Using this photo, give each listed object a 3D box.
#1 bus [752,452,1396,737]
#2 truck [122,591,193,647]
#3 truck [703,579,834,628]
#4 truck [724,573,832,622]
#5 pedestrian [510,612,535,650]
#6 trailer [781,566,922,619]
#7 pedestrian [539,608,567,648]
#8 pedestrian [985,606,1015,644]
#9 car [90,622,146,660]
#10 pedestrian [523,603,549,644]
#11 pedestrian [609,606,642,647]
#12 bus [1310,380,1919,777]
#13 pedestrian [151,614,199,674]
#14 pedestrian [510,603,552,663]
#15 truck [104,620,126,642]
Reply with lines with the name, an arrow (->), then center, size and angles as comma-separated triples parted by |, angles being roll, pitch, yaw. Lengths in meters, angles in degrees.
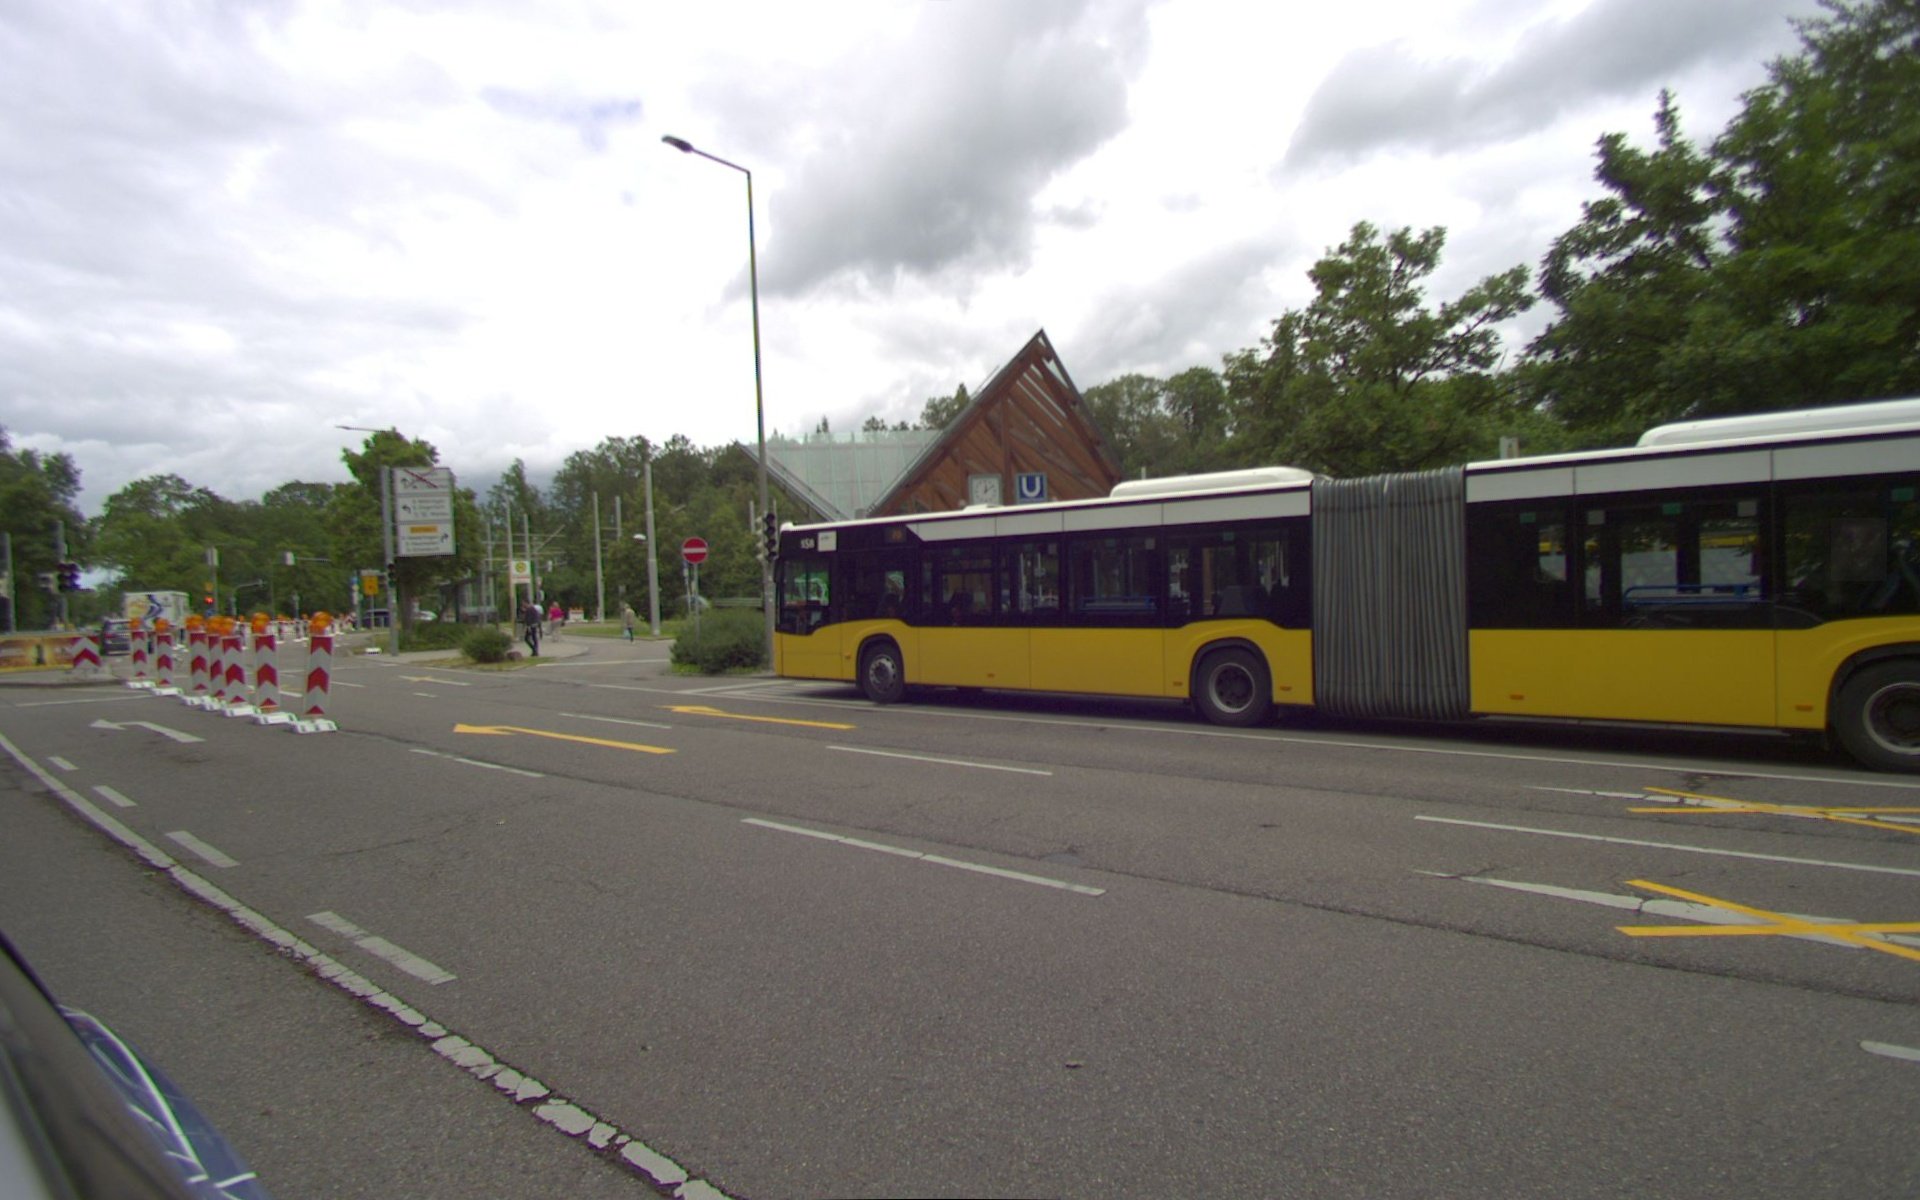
bus -> 1.090, 0.013, 15.427 | 9.751, 3.150, 2.870 | -2, 0, 40
truck -> -48.972, 1.161, 61.900 | 2.592, 3.263, 6.225 | 0, -1, -31
truck -> -10.019, 0.189, 53.003 | 6.260, 2.186, 2.588 | -3, 1, 22
truck -> -16.396, -0.239, 91.184 | 8.710, 3.910, 3.762 | -3, 1, 22
pedestrian -> -18.864, 1.343, 43.639 | 0.764, 1.557, 0.630 | -4, 2, -37
trailer -> -9.506, -0.614, 88.396 | 11.786, 3.910, 3.762 | -3, 1, 22
pedestrian -> -16.702, 1.140, 41.531 | 0.780, 1.563, 0.777 | -4, 1, -39
pedestrian -> 1.094, 0.685, 27.840 | 0.548, 0.991, 0.567 | -4, 1, -33
car -> -36.694, 1.733, 44.078 | 1.786, 1.520, 4.314 | 0, 0, -41
pedestrian -> -17.955, 0.990, 42.886 | 0.675, 1.678, 0.871 | -4, 1, -42
pedestrian -> -12.978, 1.023, 39.219 | 0.873, 1.536, 0.760 | -3, 1, 32
bus -> 8.136, -0.184, 9.484 | 8.687, 3.150, 2.870 | -2, 0, 40
pedestrian -> -23.203, 1.284, 29.939 | 1.076, 1.689, 0.913 | -1, 0, -36
pedestrian -> -13.565, 1.033, 32.018 | 0.979, 1.822, 0.768 | -3, 1, -9
truck -> -139.557, 5.129, 167.157 | 2.705, 3.235, 6.684 | -4, 1, -40
